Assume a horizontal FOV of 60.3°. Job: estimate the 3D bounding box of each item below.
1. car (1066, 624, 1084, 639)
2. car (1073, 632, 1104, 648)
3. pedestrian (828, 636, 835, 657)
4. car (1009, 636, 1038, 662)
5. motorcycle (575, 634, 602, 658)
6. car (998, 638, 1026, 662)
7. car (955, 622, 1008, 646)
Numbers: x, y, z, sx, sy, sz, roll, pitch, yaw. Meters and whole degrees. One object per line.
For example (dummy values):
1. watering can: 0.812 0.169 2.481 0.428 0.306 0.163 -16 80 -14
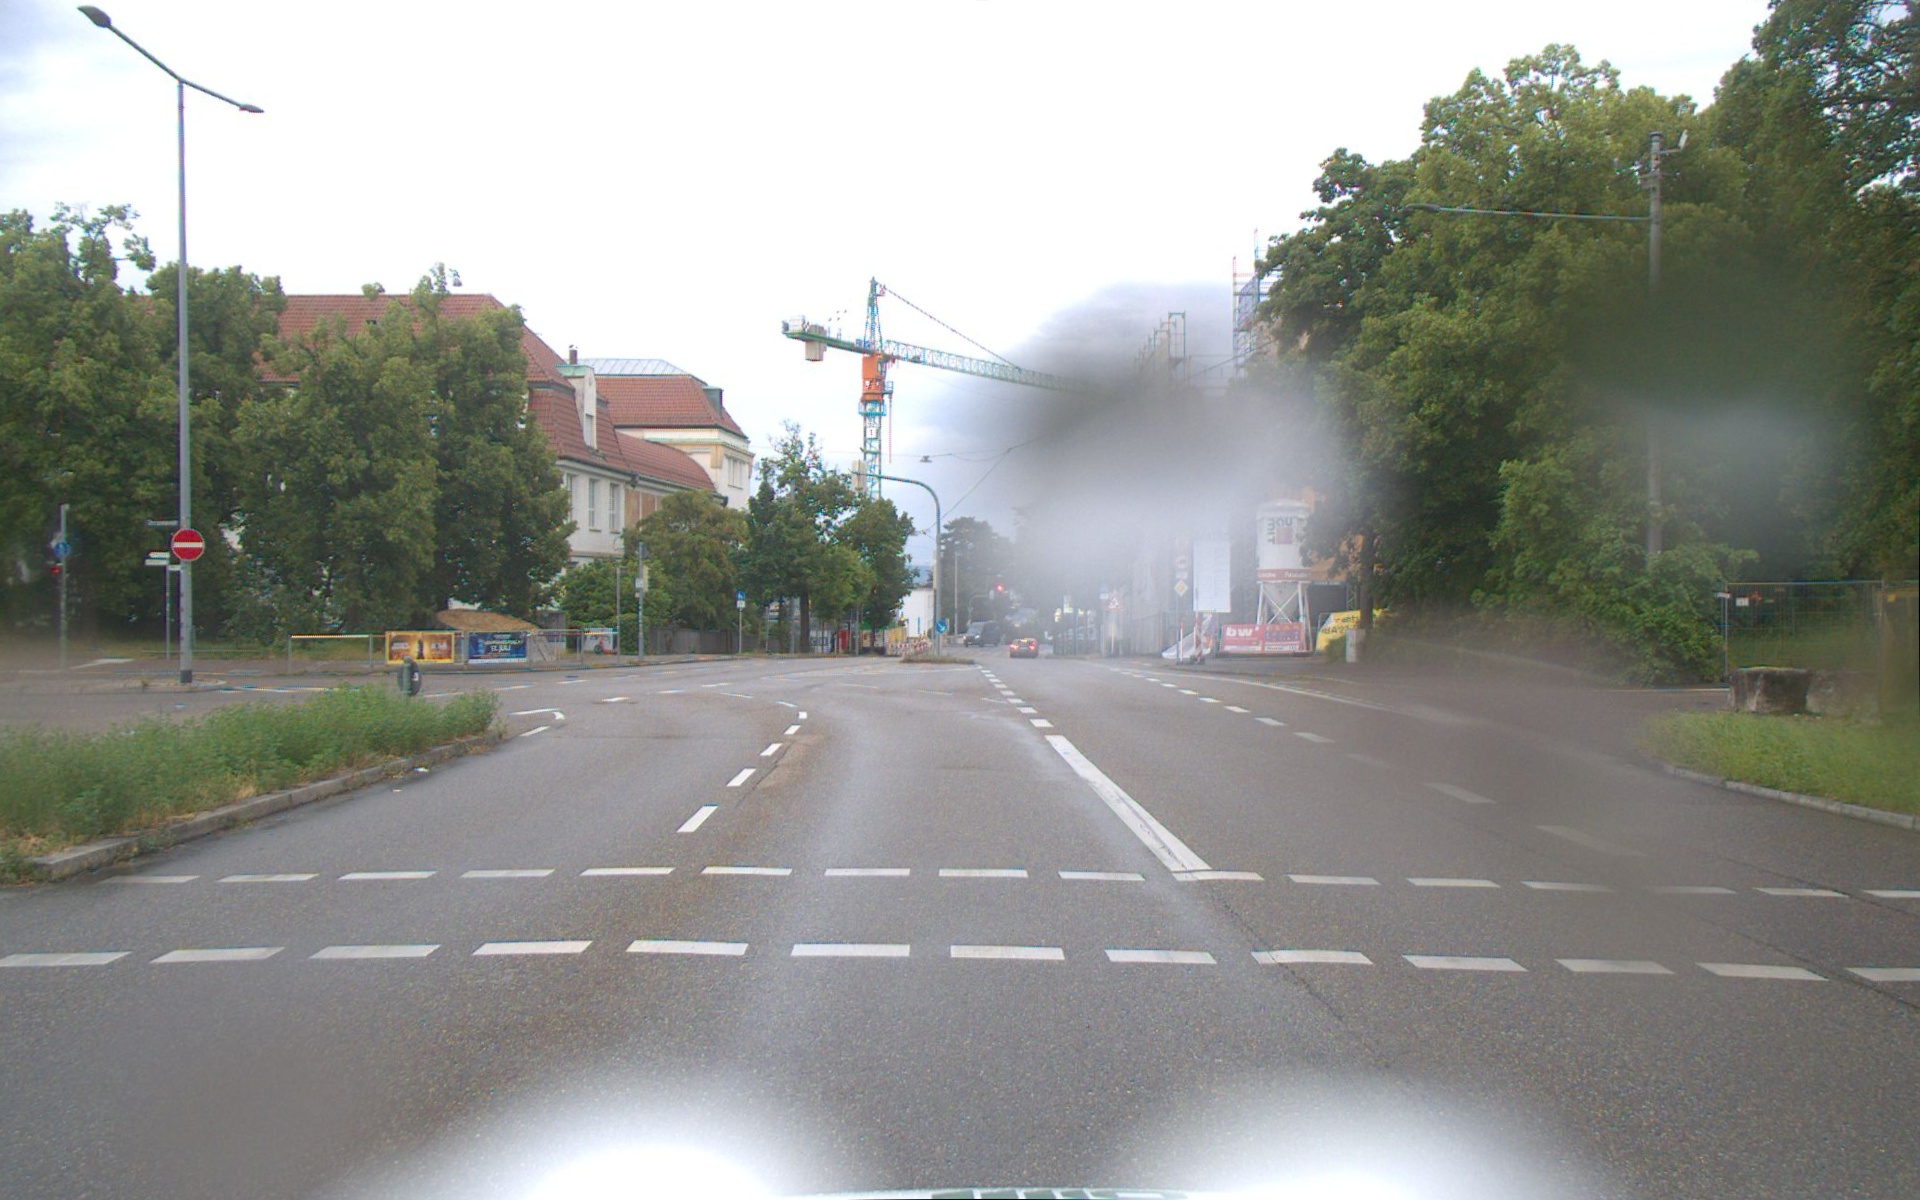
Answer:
1. car: 15.234 4.164 219.261 1.951 1.780 4.003 -1 0 10
2. car: 14.529 4.505 186.936 1.956 1.780 3.992 -1 0 30
3. pedestrian: -10.114 3.674 130.102 0.483 1.674 0.534 1 -1 2
4. car: 4.757 3.692 125.042 1.953 1.780 3.999 -1 0 -1
5. motorcycle: -14.458 1.787 64.419 0.832 0.893 0.877 1 -1 -1
6. car: 4.143 3.964 132.011 1.953 1.780 3.999 -1 0 -1
7. car: 2.296 3.625 176.760 2.798 2.445 6.169 0 -1 33
